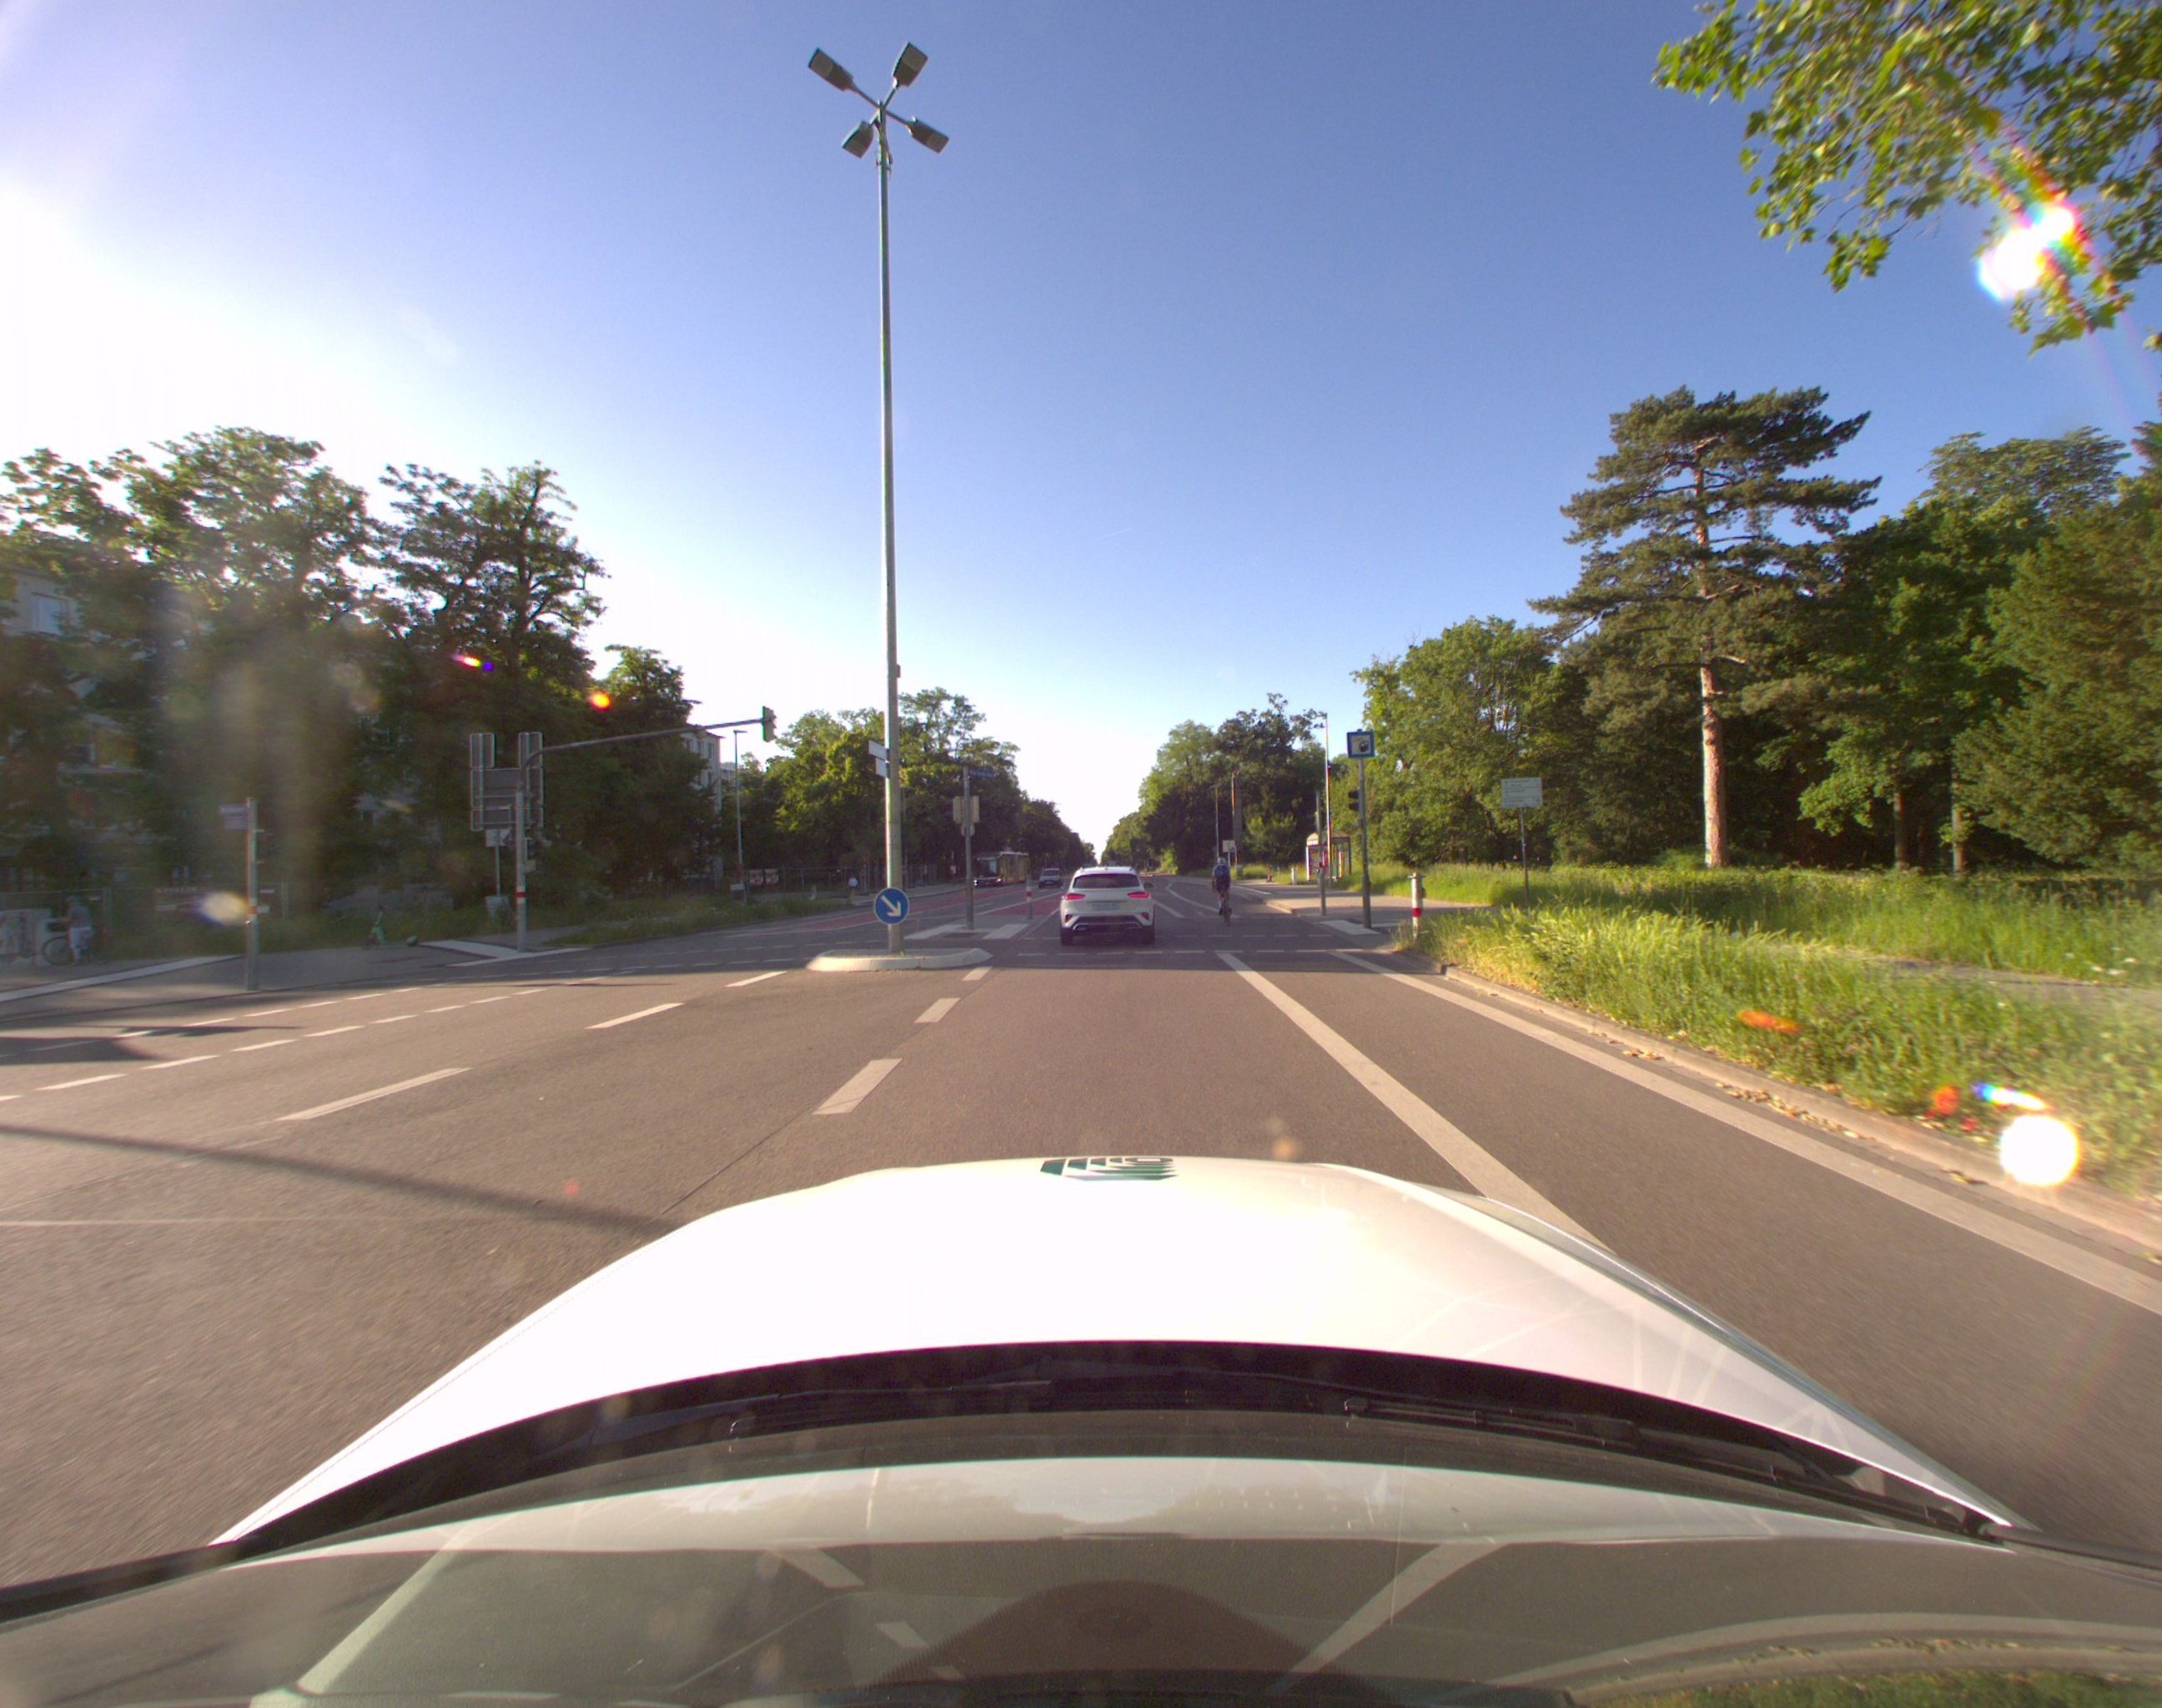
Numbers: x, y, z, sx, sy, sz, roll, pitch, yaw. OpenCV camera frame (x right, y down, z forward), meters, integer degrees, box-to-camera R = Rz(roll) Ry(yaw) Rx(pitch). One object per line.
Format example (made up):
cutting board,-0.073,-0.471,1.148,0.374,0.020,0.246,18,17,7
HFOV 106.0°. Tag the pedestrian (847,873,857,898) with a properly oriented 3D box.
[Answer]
pedestrian,-14.609,2.012,51.882,0.450,1.534,0.571,-2,-1,-2

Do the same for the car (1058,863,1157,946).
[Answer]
car,0.438,0.958,16.827,1.757,1.459,3.814,-2,-1,-2

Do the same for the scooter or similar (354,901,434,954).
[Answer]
scooter or similar,-18.630,1.981,22.116,0.686,1.294,1.505,-3,-1,32

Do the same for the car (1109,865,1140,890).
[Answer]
car,2.635,1.400,49.010,1.668,1.418,3.579,-2,-1,5

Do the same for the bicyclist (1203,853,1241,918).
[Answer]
bicyclist,3.478,0.765,20.156,0.855,1.567,0.883,-1,-1,7

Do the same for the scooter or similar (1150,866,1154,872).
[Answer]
scooter or similar,15.867,3.311,182.124,0.679,1.423,1.682,-2,-1,1

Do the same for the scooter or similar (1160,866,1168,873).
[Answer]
scooter or similar,14.129,2.647,138.523,1.549,1.250,0.528,-1,-2,-42

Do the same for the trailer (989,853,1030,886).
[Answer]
trailer,-7.492,1.621,86.325,2.842,3.356,9.372,0,-1,4

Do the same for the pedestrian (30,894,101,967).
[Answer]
pedestrian,-24.707,1.859,19.827,0.972,1.696,0.644,-2,-1,7

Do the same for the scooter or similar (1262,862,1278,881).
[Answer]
scooter or similar,12.692,1.177,54.643,0.715,1.247,1.335,-3,-2,25

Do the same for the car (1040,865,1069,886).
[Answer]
car,-1.961,1.609,61.120,1.703,1.421,4.559,-2,-1,4

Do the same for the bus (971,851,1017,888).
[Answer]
bus,-8.157,1.462,77.366,2.828,3.197,8.607,-2,-1,4

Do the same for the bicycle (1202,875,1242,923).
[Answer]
bicycle,3.484,1.096,20.270,0.886,1.095,2.140,-1,-1,7

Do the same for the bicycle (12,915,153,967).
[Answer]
bicycle,-24.856,2.153,20.296,2.557,1.136,0.982,-2,-1,6
